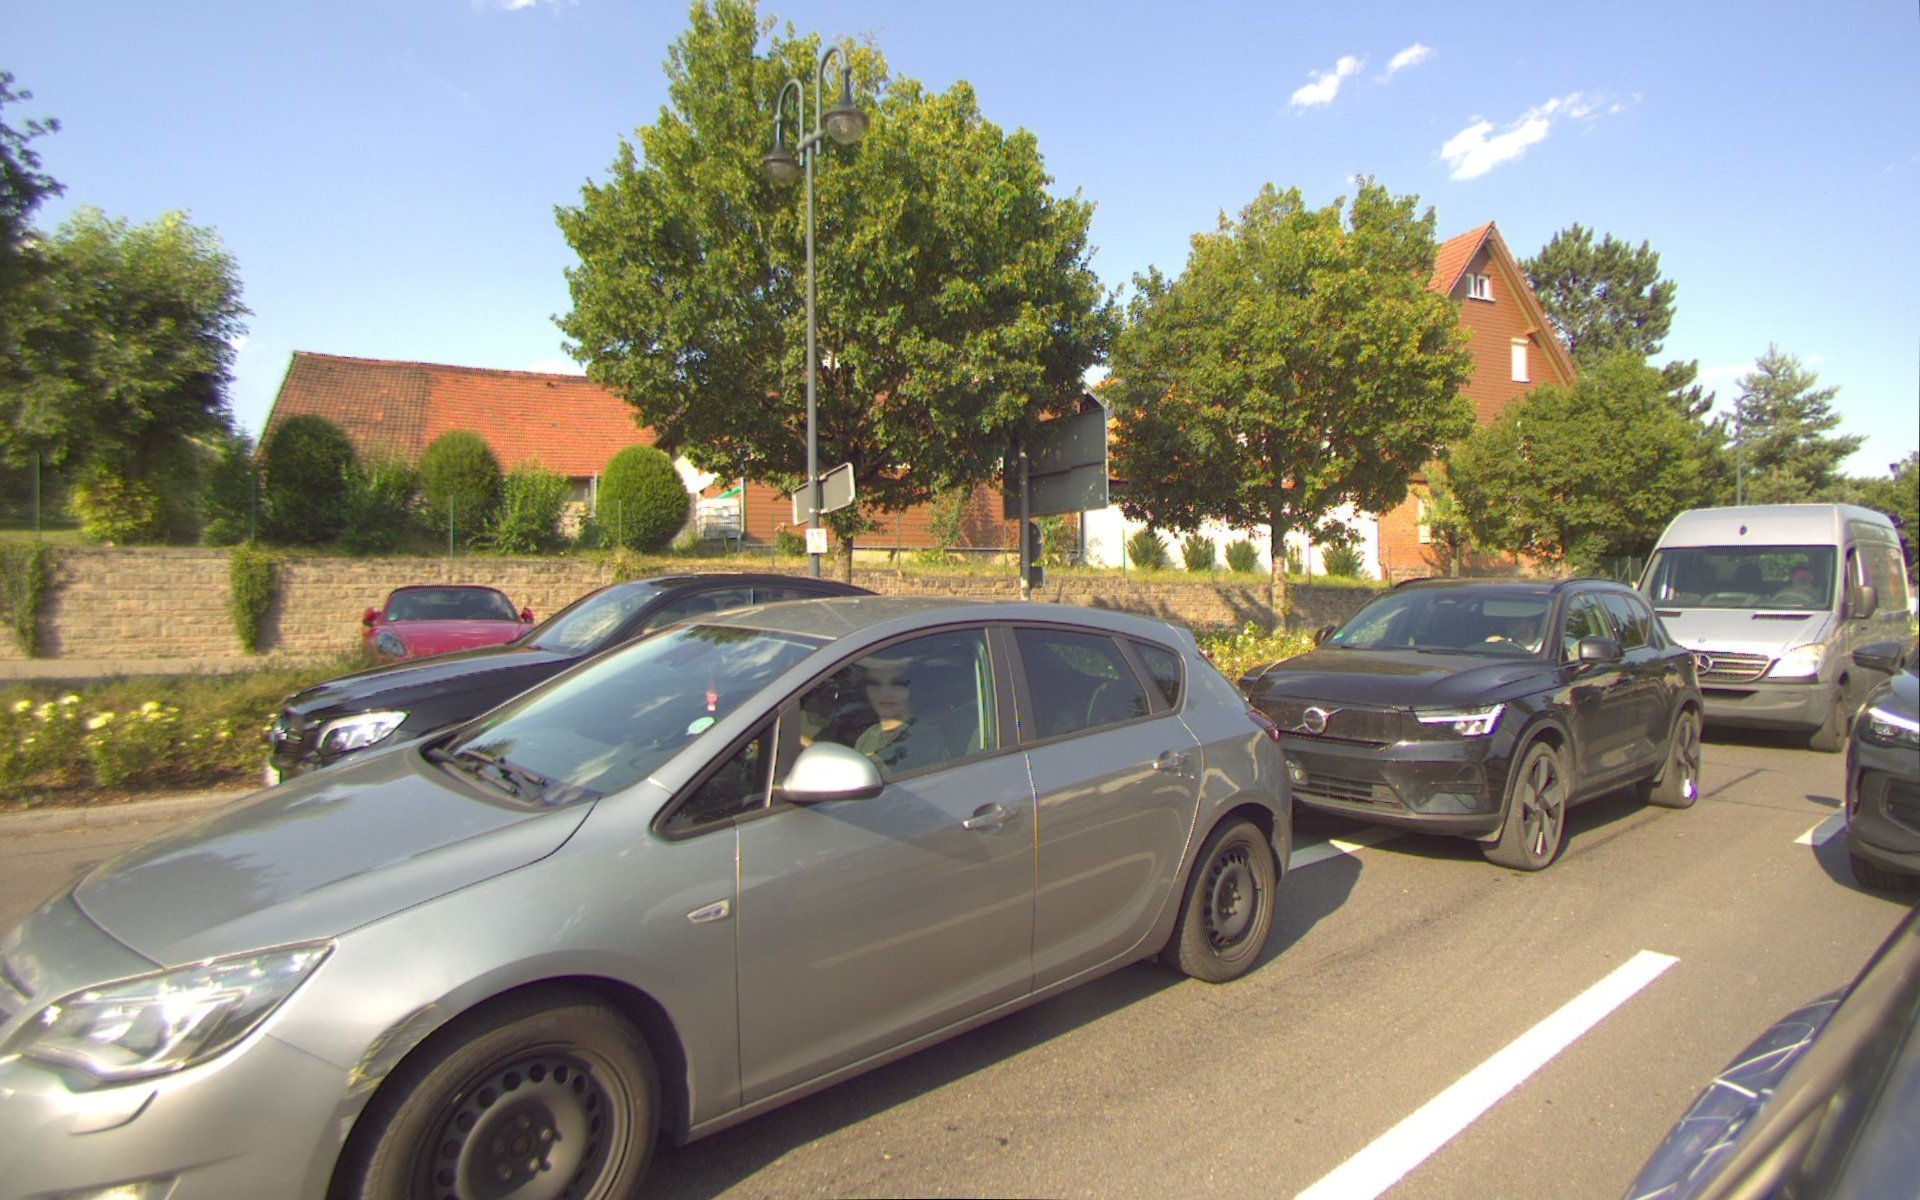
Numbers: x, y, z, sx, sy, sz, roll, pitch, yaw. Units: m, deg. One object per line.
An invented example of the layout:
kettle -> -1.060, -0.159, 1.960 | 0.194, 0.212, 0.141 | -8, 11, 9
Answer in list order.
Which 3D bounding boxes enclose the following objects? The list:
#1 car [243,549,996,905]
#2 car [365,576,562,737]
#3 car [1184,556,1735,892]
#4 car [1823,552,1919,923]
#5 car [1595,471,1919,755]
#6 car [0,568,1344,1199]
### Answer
car -> -1.962, 0.545, 6.812 | 4.489, 1.628, 1.764 | 0, 2, -43
car -> -5.882, 0.522, 11.723 | 1.743, 1.510, 4.156 | 0, 0, -31
car -> 3.618, 0.568, 6.975 | 4.242, 1.629, 1.844 | 0, 2, -40
car -> 6.228, 0.618, 5.346 | 4.242, 1.629, 1.844 | 0, 2, -40
car -> 9.714, 0.085, 11.956 | 5.938, 2.601, 1.992 | 0, 1, -40
car -> -0.545, 0.665, 3.532 | 4.244, 1.471, 1.765 | 0, 2, -42
